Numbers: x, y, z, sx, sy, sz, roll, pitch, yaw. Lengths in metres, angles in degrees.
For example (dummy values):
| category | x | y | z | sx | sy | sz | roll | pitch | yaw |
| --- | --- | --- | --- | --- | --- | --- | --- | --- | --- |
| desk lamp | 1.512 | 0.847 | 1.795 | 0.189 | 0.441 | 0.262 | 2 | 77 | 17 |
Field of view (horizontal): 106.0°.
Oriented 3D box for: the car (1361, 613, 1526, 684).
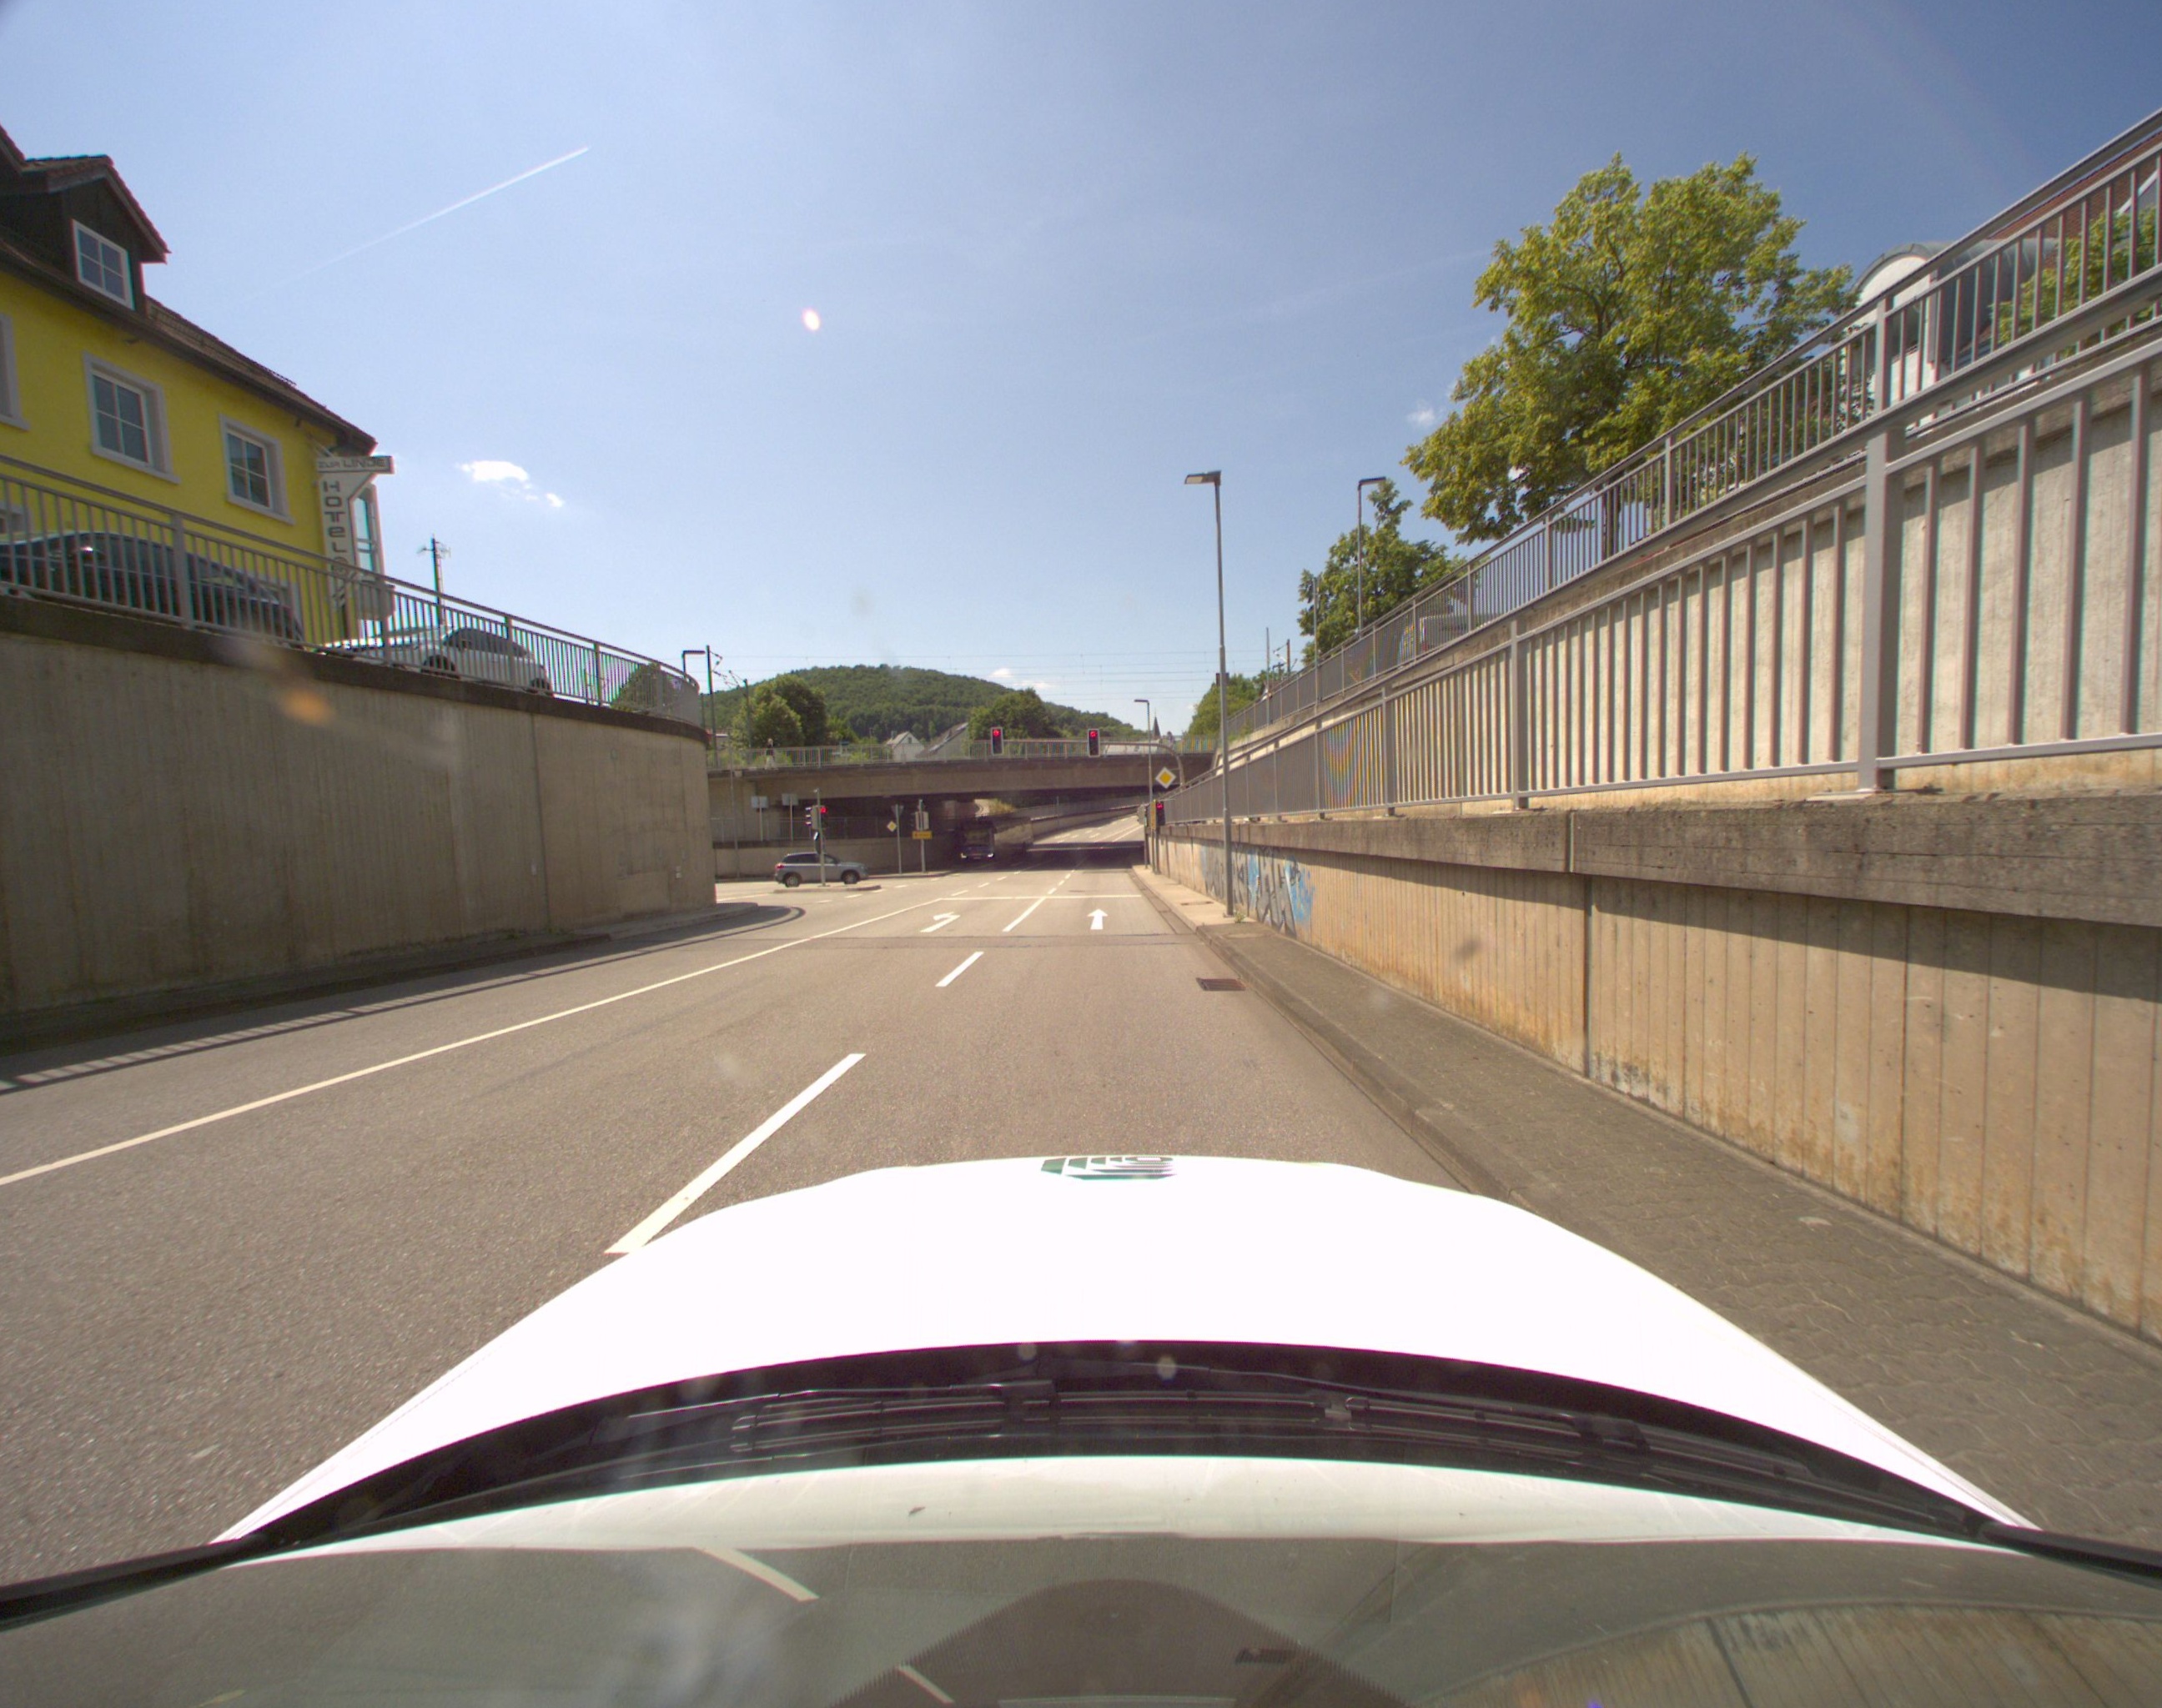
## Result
| category | x | y | z | sx | sy | sz | roll | pitch | yaw |
| --- | --- | --- | --- | --- | --- | --- | --- | --- | --- |
| car | 10.365 | -5.900 | 23.519 | 3.969 | 1.486 | 1.772 | -1 | 0 | 4 |

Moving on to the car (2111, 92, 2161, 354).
| category | x | y | z | sx | sy | sz | roll | pitch | yaw |
| --- | --- | --- | --- | --- | --- | --- | --- | --- | --- |
| car | 10.062 | -4.871 | 5.420 | 3.969 | 1.770 | 1.772 | -1 | 0 | 4 |

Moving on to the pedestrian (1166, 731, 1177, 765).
| category | x | y | z | sx | sy | sz | roll | pitch | yaw |
| --- | --- | --- | --- | --- | --- | --- | --- | --- | --- |
| pedestrian | 5.748 | -6.726 | 51.898 | 0.538 | 2.081 | 0.534 | -3 | 0 | -5 |

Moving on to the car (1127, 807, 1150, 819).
| category | x | y | z | sx | sy | sz | roll | pitch | yaw |
| --- | --- | --- | --- | --- | --- | --- | --- | --- | --- |
| car | 8.096 | -5.746 | 114.000 | 1.976 | 1.627 | 4.022 | -1 | 3 | 21 |

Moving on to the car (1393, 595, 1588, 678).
| category | x | y | z | sx | sy | sz | roll | pitch | yaw |
| --- | --- | --- | --- | --- | --- | --- | --- | --- | --- |
| car | 10.081 | -5.366 | 20.291 | 3.969 | 1.486 | 1.772 | -1 | 0 | 4 |

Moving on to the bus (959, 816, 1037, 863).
| category | x | y | z | sx | sy | sz | roll | pitch | yaw |
| --- | --- | --- | --- | --- | --- | --- | --- | --- | --- |
| bus | -6.113 | -1.324 | 63.034 | 2.565 | 3.172 | 12.415 | -1 | 3 | 10 |

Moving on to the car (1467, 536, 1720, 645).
| category | x | y | z | sx | sy | sz | roll | pitch | yaw |
| --- | --- | --- | --- | --- | --- | --- | --- | --- | --- |
| car | 10.189 | -5.248 | 16.443 | 3.969 | 1.486 | 1.772 | -1 | 0 | 4 |

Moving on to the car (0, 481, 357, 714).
| category | x | y | z | sx | sy | sz | roll | pitch | yaw |
| --- | --- | --- | --- | --- | --- | --- | --- | --- | --- |
| car | -11.290 | -2.785 | 9.504 | 1.817 | 1.705 | 4.222 | -2 | 3 | 0 |

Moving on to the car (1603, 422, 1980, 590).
| category | x | y | z | sx | sy | sz | roll | pitch | yaw |
| --- | --- | --- | --- | --- | --- | --- | --- | --- | --- |
| car | 10.324 | -5.062 | 12.103 | 3.969 | 1.567 | 1.772 | -1 | 0 | 4 |

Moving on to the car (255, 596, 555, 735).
| category | x | y | z | sx | sy | sz | roll | pitch | yaw |
| --- | --- | --- | --- | --- | --- | --- | --- | --- | --- |
| car | -11.651 | -3.182 | 14.489 | 1.896 | 1.667 | 4.000 | -2 | 3 | 0 |

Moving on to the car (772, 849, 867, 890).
| category | x | y | z | sx | sy | sz | roll | pitch | yaw |
| --- | --- | --- | --- | --- | --- | --- | --- | --- | --- |
| car | -11.876 | 0.661 | 37.241 | 3.996 | 1.617 | 1.800 | -2 | 2 | -17 |

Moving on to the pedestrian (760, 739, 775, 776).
| category | x | y | z | sx | sy | sz | roll | pitch | yaw |
| --- | --- | --- | --- | --- | --- | --- | --- | --- | --- |
| pedestrian | -17.897 | -5.501 | 46.521 | 0.576 | 2.081 | 0.533 | -3 | 0 | -9 |
